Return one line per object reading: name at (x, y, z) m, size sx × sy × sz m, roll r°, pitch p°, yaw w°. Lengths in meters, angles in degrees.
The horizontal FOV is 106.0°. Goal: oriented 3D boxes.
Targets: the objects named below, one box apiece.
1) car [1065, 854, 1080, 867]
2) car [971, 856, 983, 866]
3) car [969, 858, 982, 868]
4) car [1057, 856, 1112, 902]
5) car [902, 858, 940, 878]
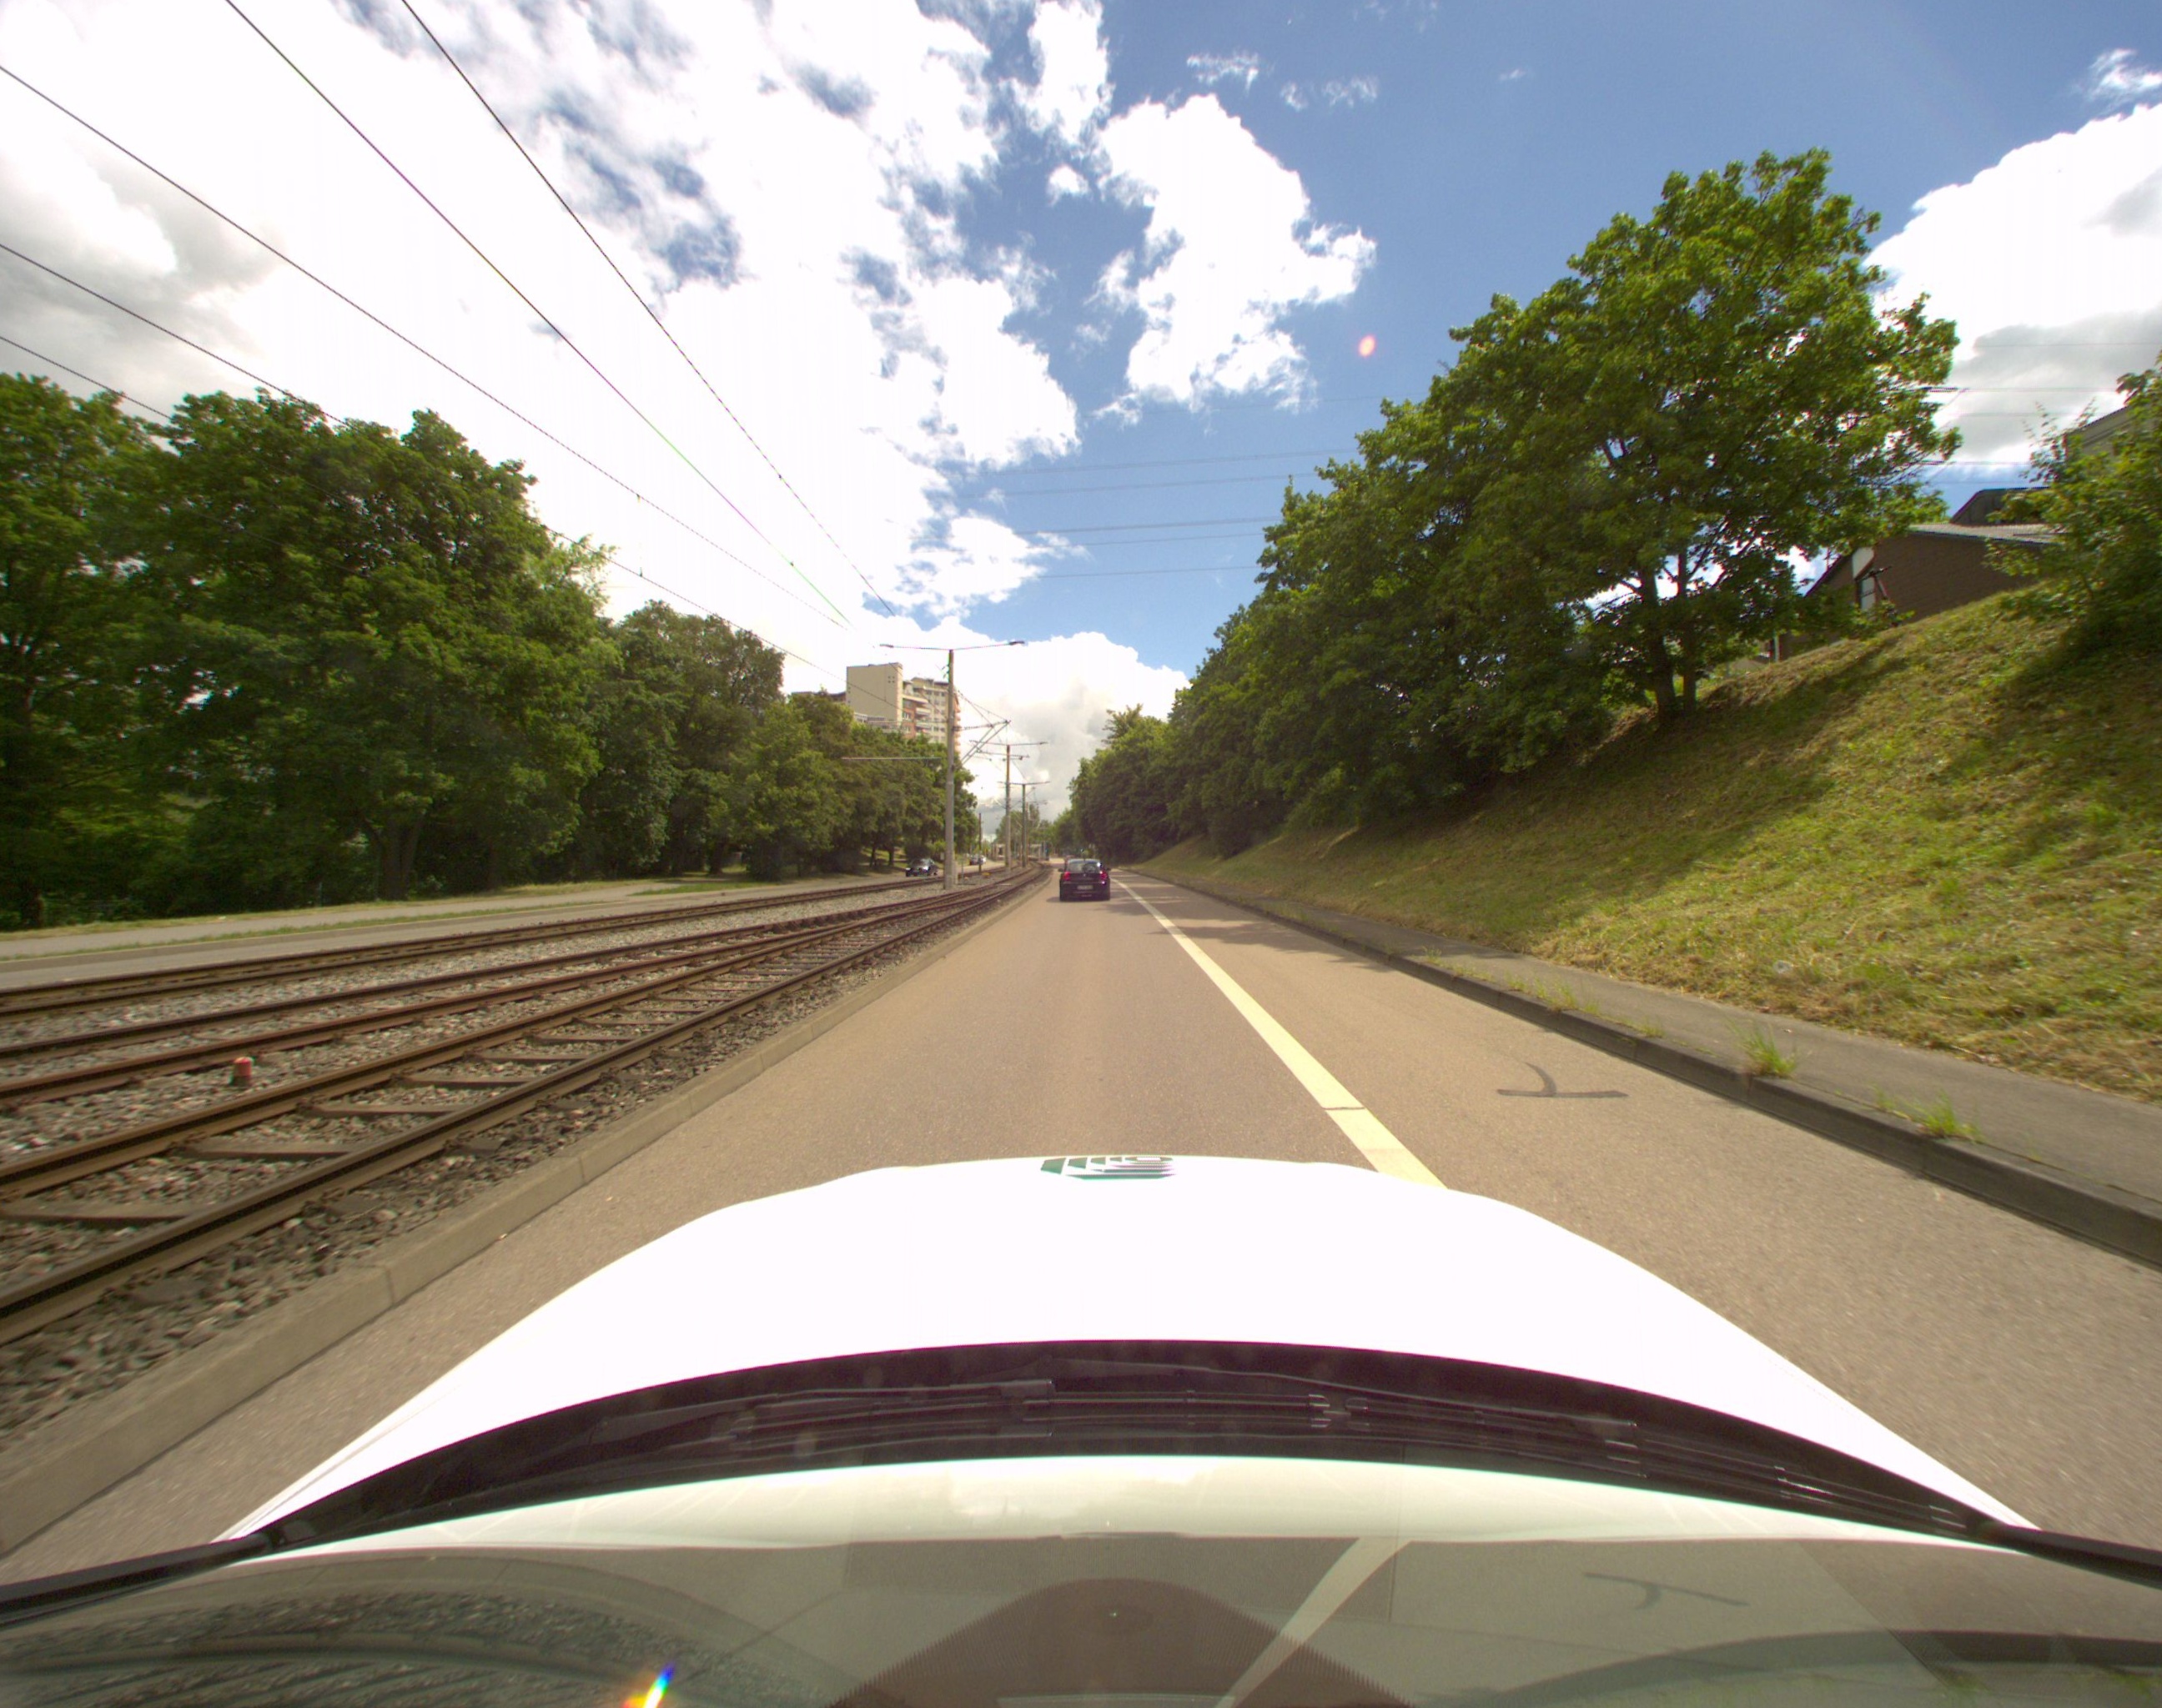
car at (-1.088, 0.774, 99.294) m, size 1.777 × 1.459 × 3.918 m, roll -1°, pitch 0°, yaw -2°
car at (-17.132, 1.141, 134.460) m, size 1.771 × 1.630 × 4.374 m, roll -1°, pitch -1°, yaw -5°
car at (-16.555, 1.457, 127.807) m, size 1.771 × 1.498 × 3.990 m, roll -1°, pitch 0°, yaw -5°
car at (0.055, 0.825, 28.428) m, size 1.776 × 1.459 × 3.918 m, roll -2°, pitch 0°, yaw -2°
car at (-12.428, 1.048, 63.451) m, size 1.829 × 1.391 × 4.863 m, roll -3°, pitch 0°, yaw 1°
